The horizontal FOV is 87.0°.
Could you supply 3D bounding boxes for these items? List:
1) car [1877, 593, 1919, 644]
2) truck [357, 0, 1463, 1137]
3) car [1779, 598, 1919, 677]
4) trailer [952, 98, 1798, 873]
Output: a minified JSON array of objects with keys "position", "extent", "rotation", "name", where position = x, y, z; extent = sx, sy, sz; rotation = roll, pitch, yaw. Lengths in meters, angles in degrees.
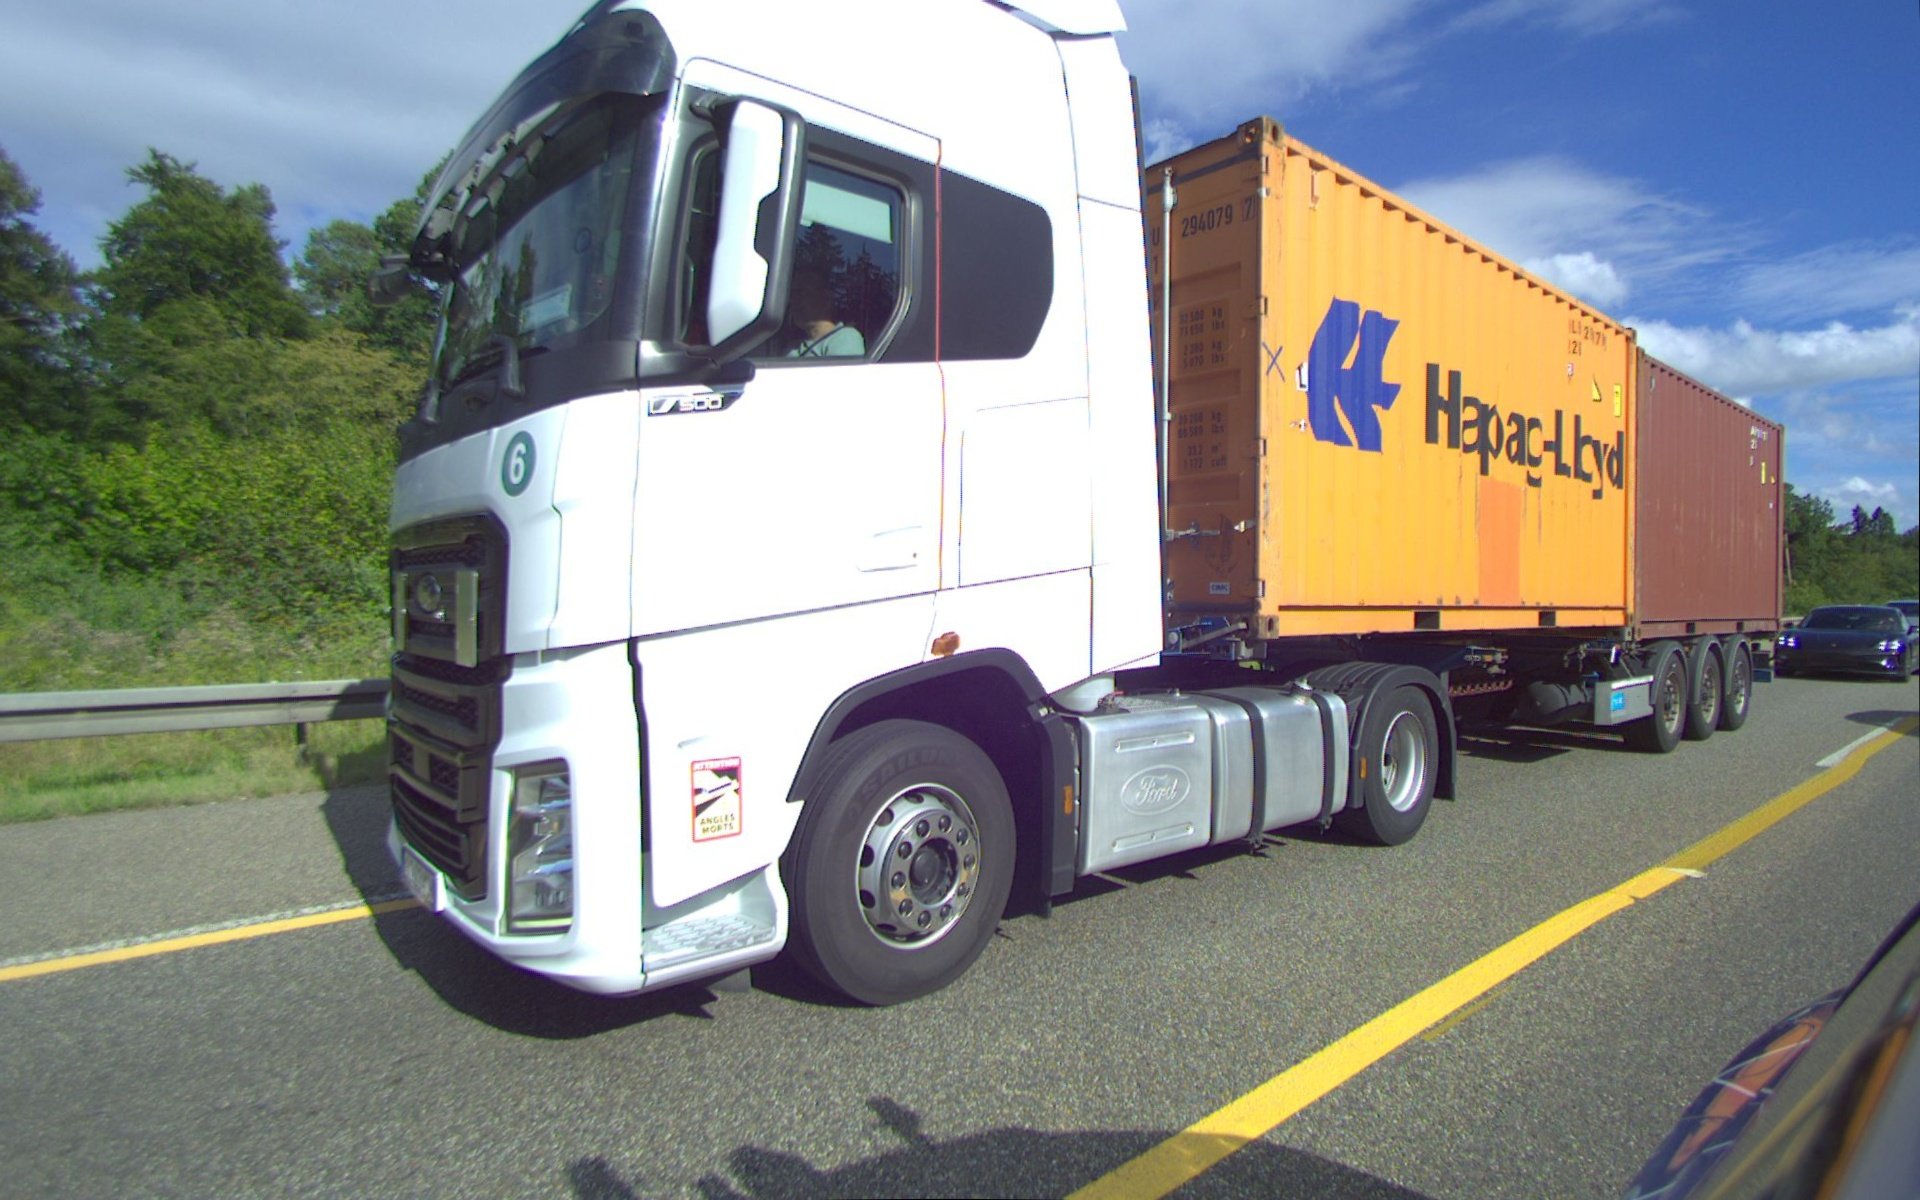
[{"position":[30.602,0.553,32.104],"extent":[3.898,1.498,1.761],"rotation":[-1,1,-40],"name":"car"},{"position":[0.246,-0.551,5.470],"extent":[5.690,3.828,2.498],"rotation":[0,0,-42],"name":"truck"},{"position":[17.880,0.659,19.952],"extent":[4.399,1.367,1.932],"rotation":[0,0,-41],"name":"car"},{"position":[5.256,-0.594,9.829],"extent":[11.922,3.822,2.476],"rotation":[0,0,-41],"name":"trailer"}]
